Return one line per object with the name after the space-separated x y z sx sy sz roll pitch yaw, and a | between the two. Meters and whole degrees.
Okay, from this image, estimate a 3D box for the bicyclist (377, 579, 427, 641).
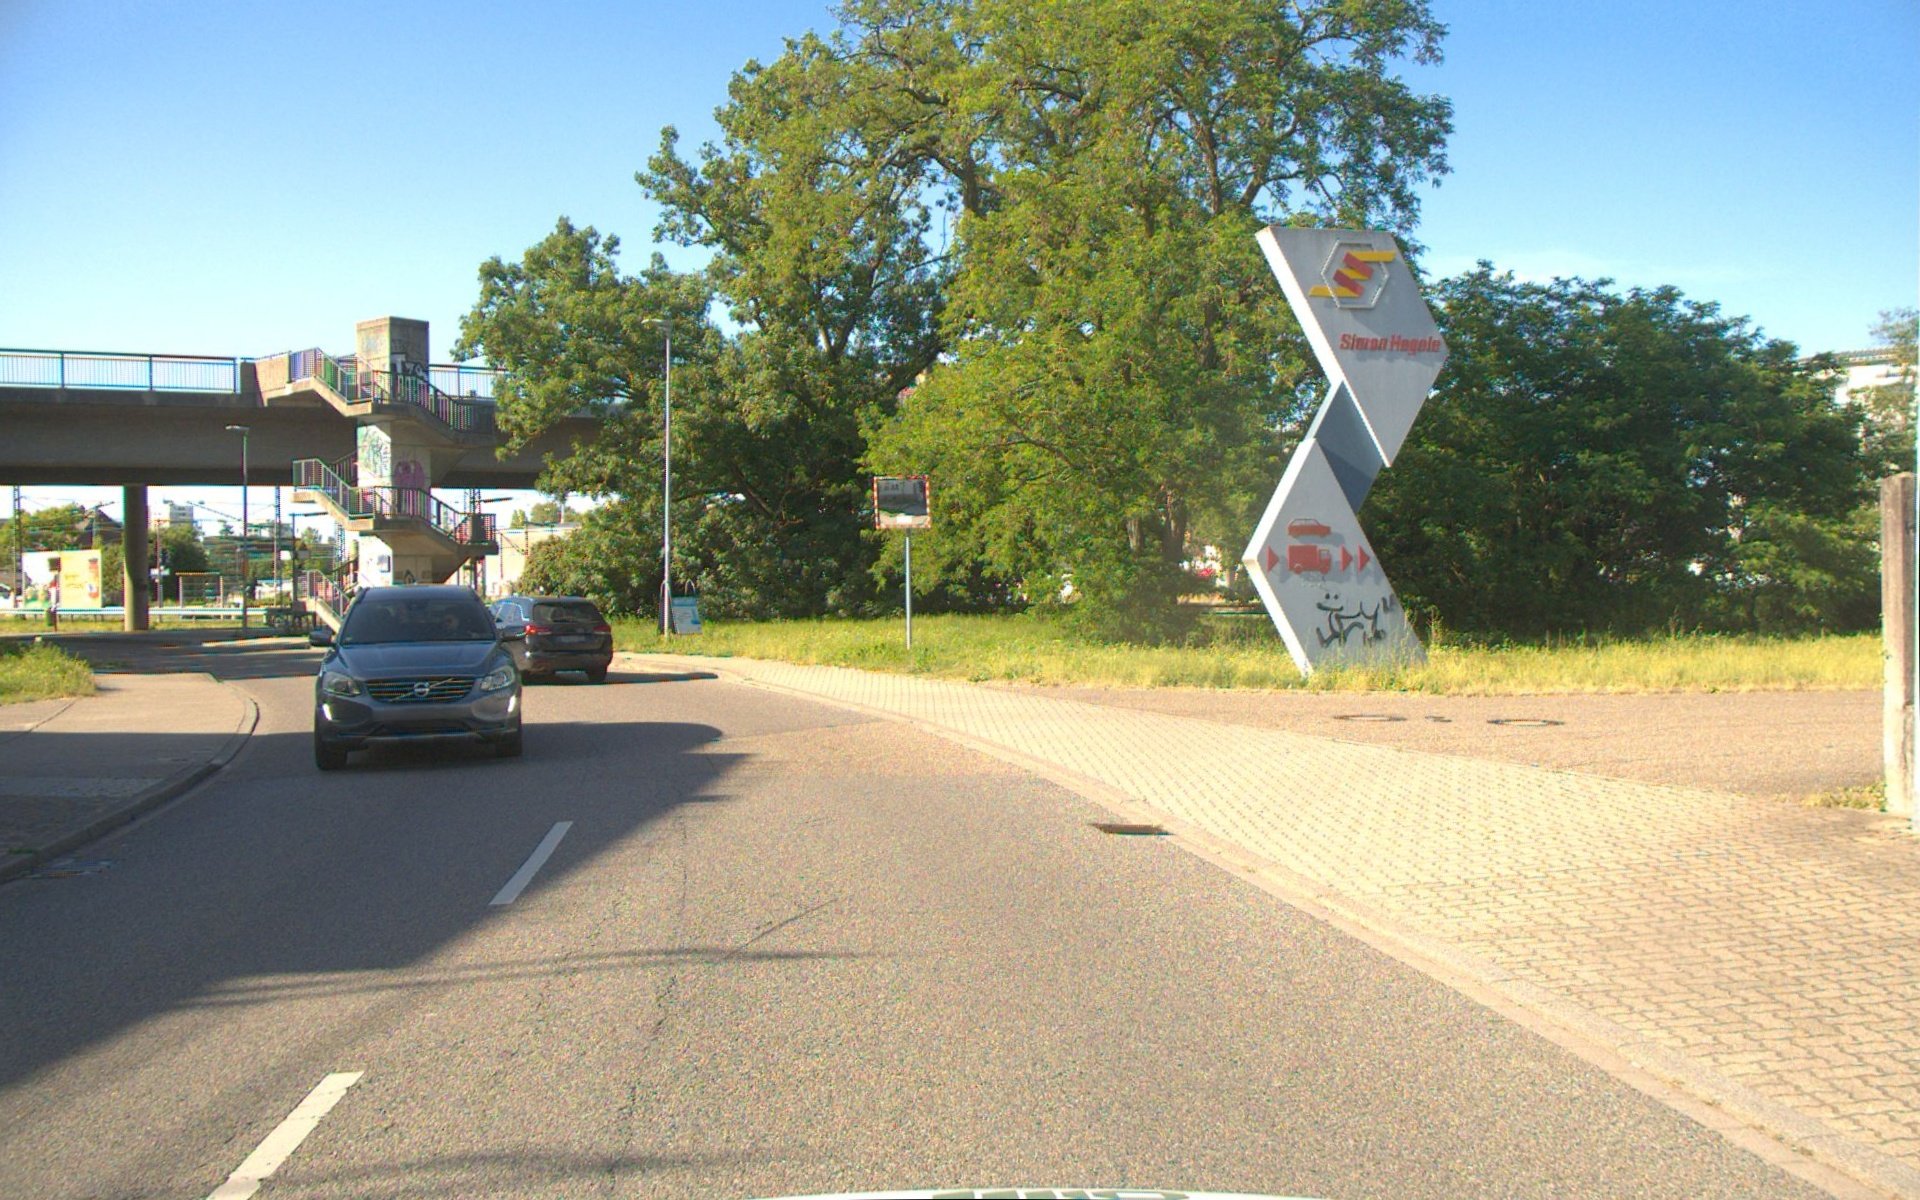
-13.921 0.243 41.288 0.907 1.514 0.838 0 1 43 | bicyclist

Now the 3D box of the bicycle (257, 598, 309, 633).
-23.445 0.538 57.247 2.136 1.203 0.597 -1 1 35 | bicycle

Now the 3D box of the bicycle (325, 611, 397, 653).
-15.919 0.835 43.920 2.149 1.070 0.839 0 1 40 | bicycle

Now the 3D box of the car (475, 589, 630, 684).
-7.361 0.591 29.571 1.917 1.514 4.531 -1 1 -24 | car

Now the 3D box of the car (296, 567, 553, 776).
-5.577 0.610 16.842 1.968 1.725 4.531 -3 1 -24 | car

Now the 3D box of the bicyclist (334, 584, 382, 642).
-16.009 0.334 43.973 0.906 1.514 0.839 -1 1 40 | bicyclist

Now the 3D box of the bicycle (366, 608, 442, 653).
-13.881 0.754 41.270 2.150 1.070 0.838 0 1 42 | bicycle
